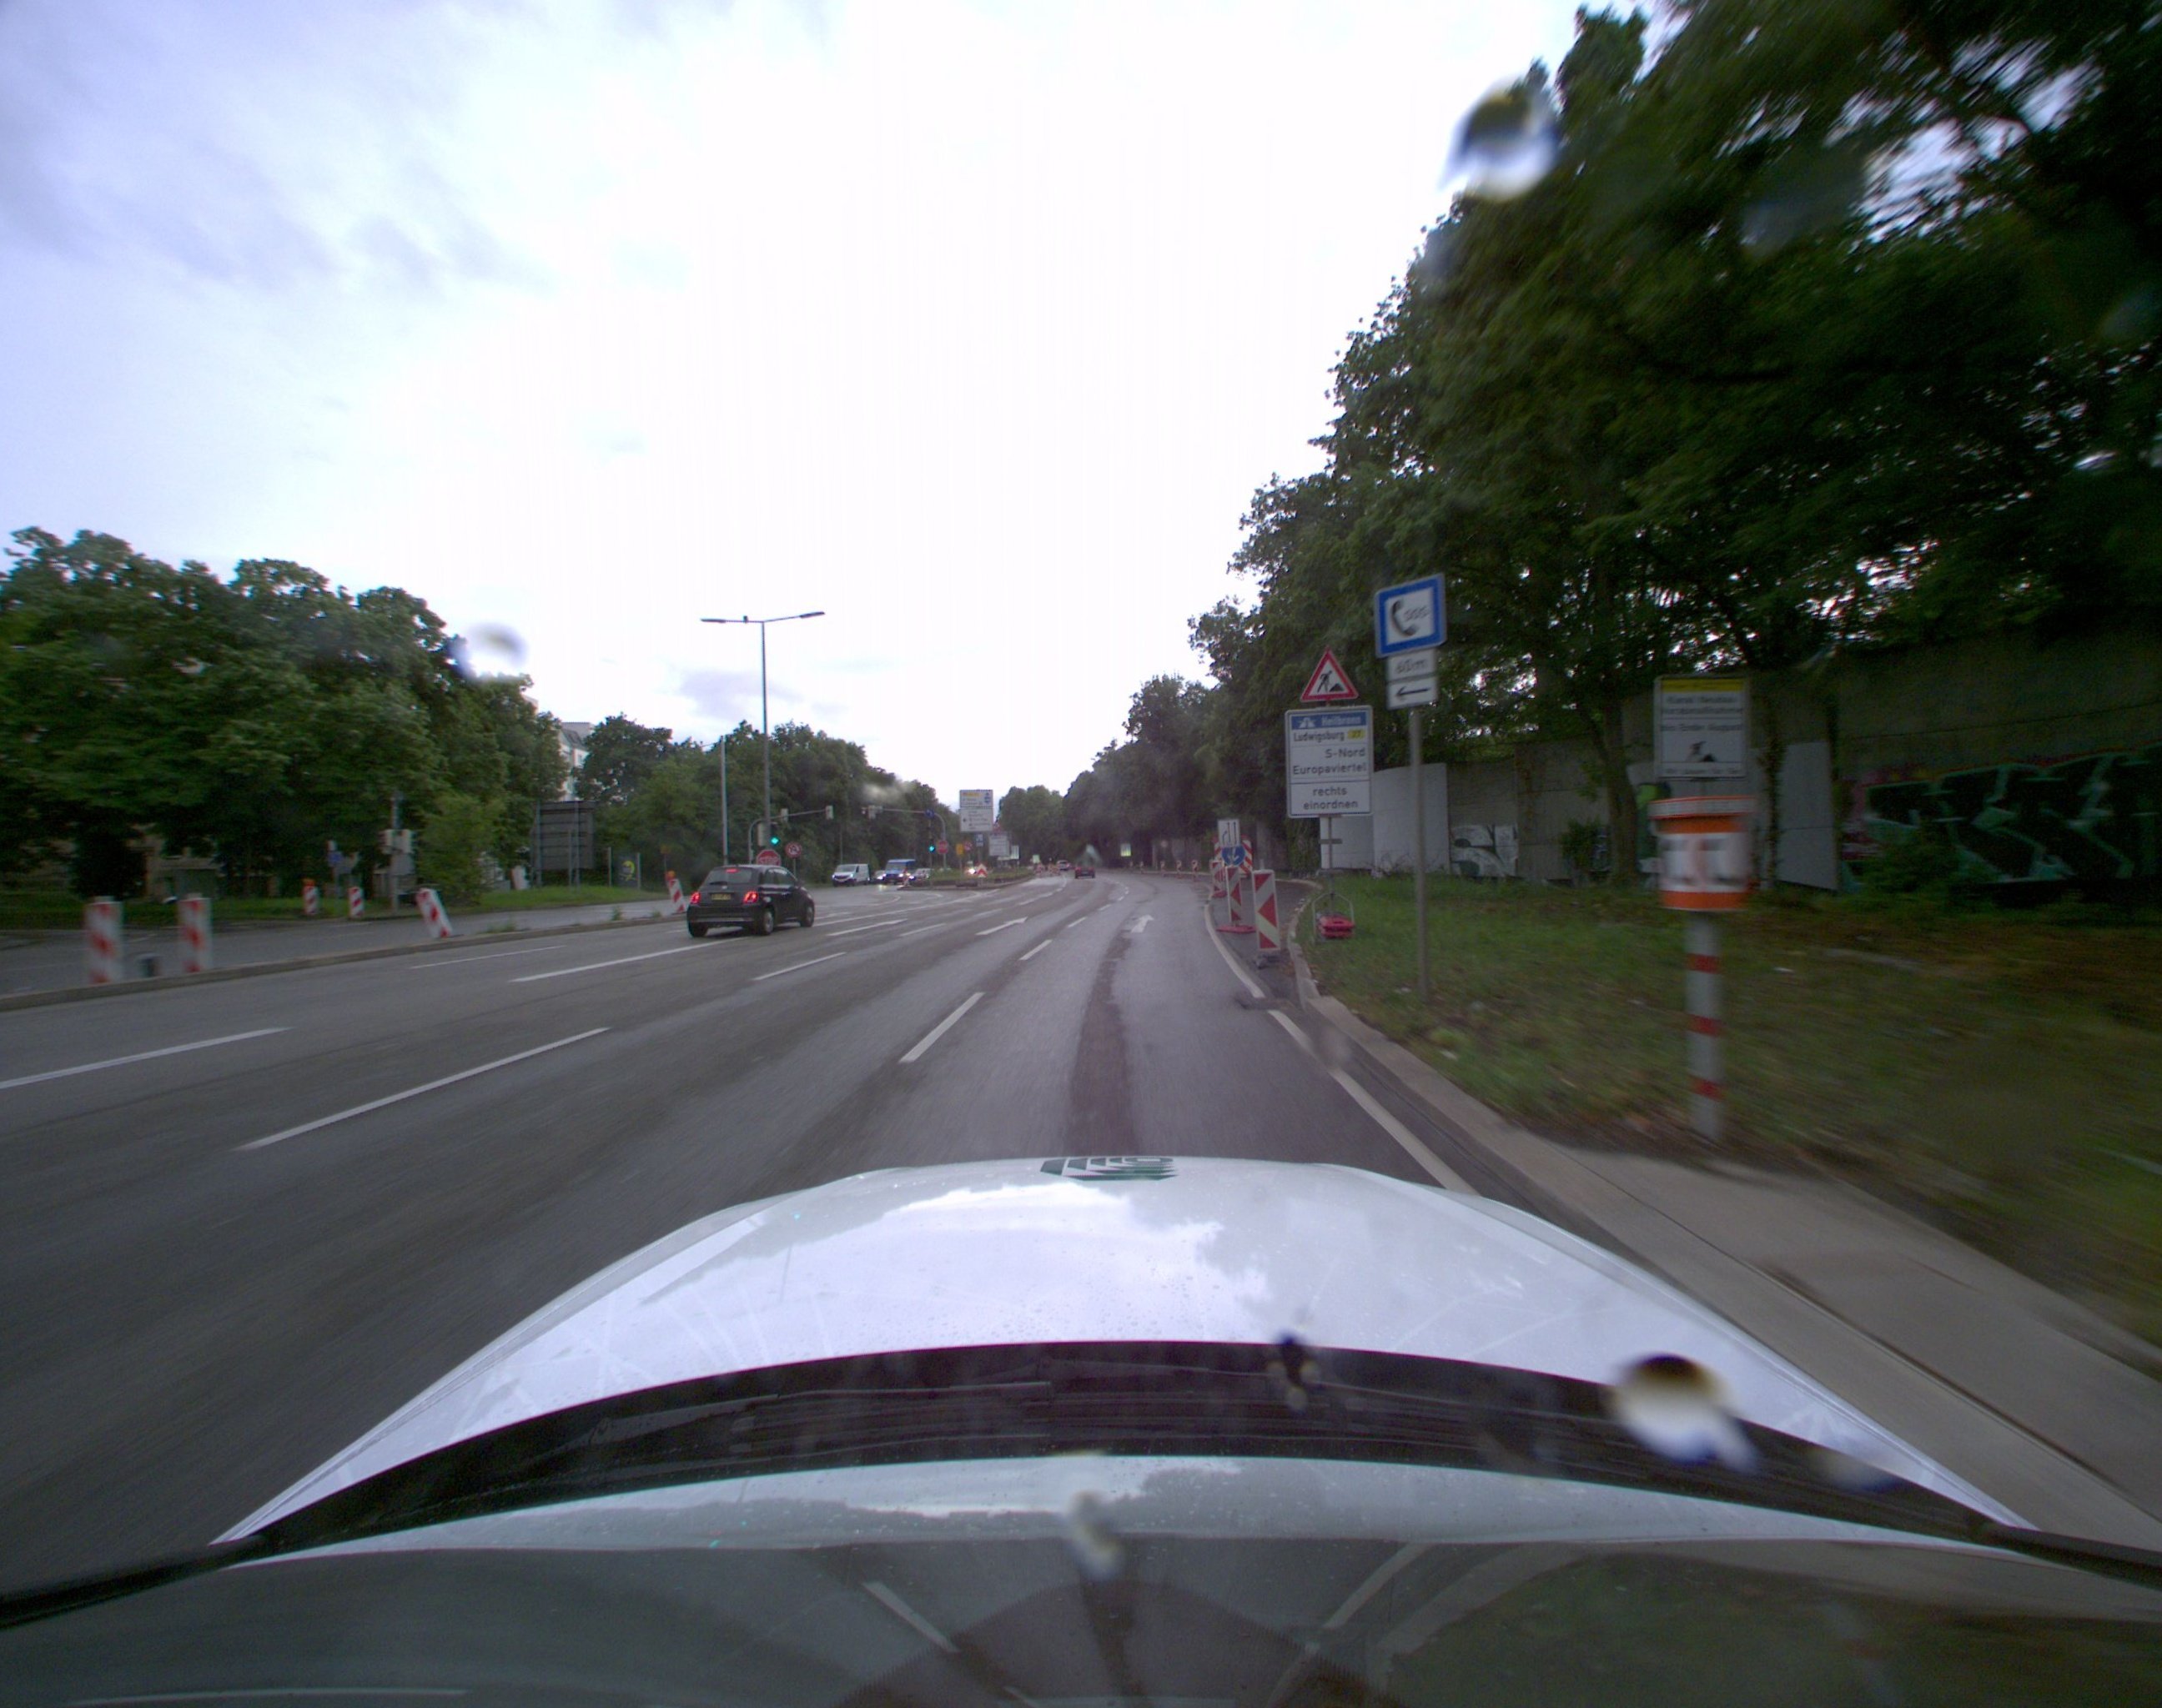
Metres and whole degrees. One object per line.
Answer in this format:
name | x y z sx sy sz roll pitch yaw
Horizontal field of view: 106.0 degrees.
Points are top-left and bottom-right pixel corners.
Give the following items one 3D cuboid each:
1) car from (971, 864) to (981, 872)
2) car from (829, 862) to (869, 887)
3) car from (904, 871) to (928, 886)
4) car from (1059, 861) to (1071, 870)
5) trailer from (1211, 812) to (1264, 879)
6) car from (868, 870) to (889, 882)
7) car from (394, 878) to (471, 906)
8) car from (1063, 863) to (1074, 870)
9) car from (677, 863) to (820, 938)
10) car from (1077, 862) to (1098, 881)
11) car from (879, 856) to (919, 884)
car | -25.682 3.469 199.409 1.910 1.781 4.827 -2 0 -3
car | -20.352 1.737 71.619 2.028 1.974 4.990 -2 0 0
car | -14.373 2.110 71.098 1.546 1.200 4.638 -2 -1 -5
car | -2.136 1.523 110.039 1.384 1.233 3.084 0 -1 2
trailer | 9.224 -0.440 48.465 2.297 3.589 5.967 -4 -1 5
car | -19.648 2.126 79.215 1.266 1.085 2.793 -1 0 1
car | -42.965 2.489 54.037 3.493 1.658 1.871 -2 -1 -10
car | -2.728 2.713 179.288 1.860 1.491 3.991 -2 1 -7
car | -7.134 0.937 17.853 1.580 1.441 3.505 -1 -1 2
car | 0.596 1.608 75.986 1.855 1.491 4.001 -1 1 1
car | -16.996 1.446 76.332 2.188 2.390 6.244 -2 0 0
